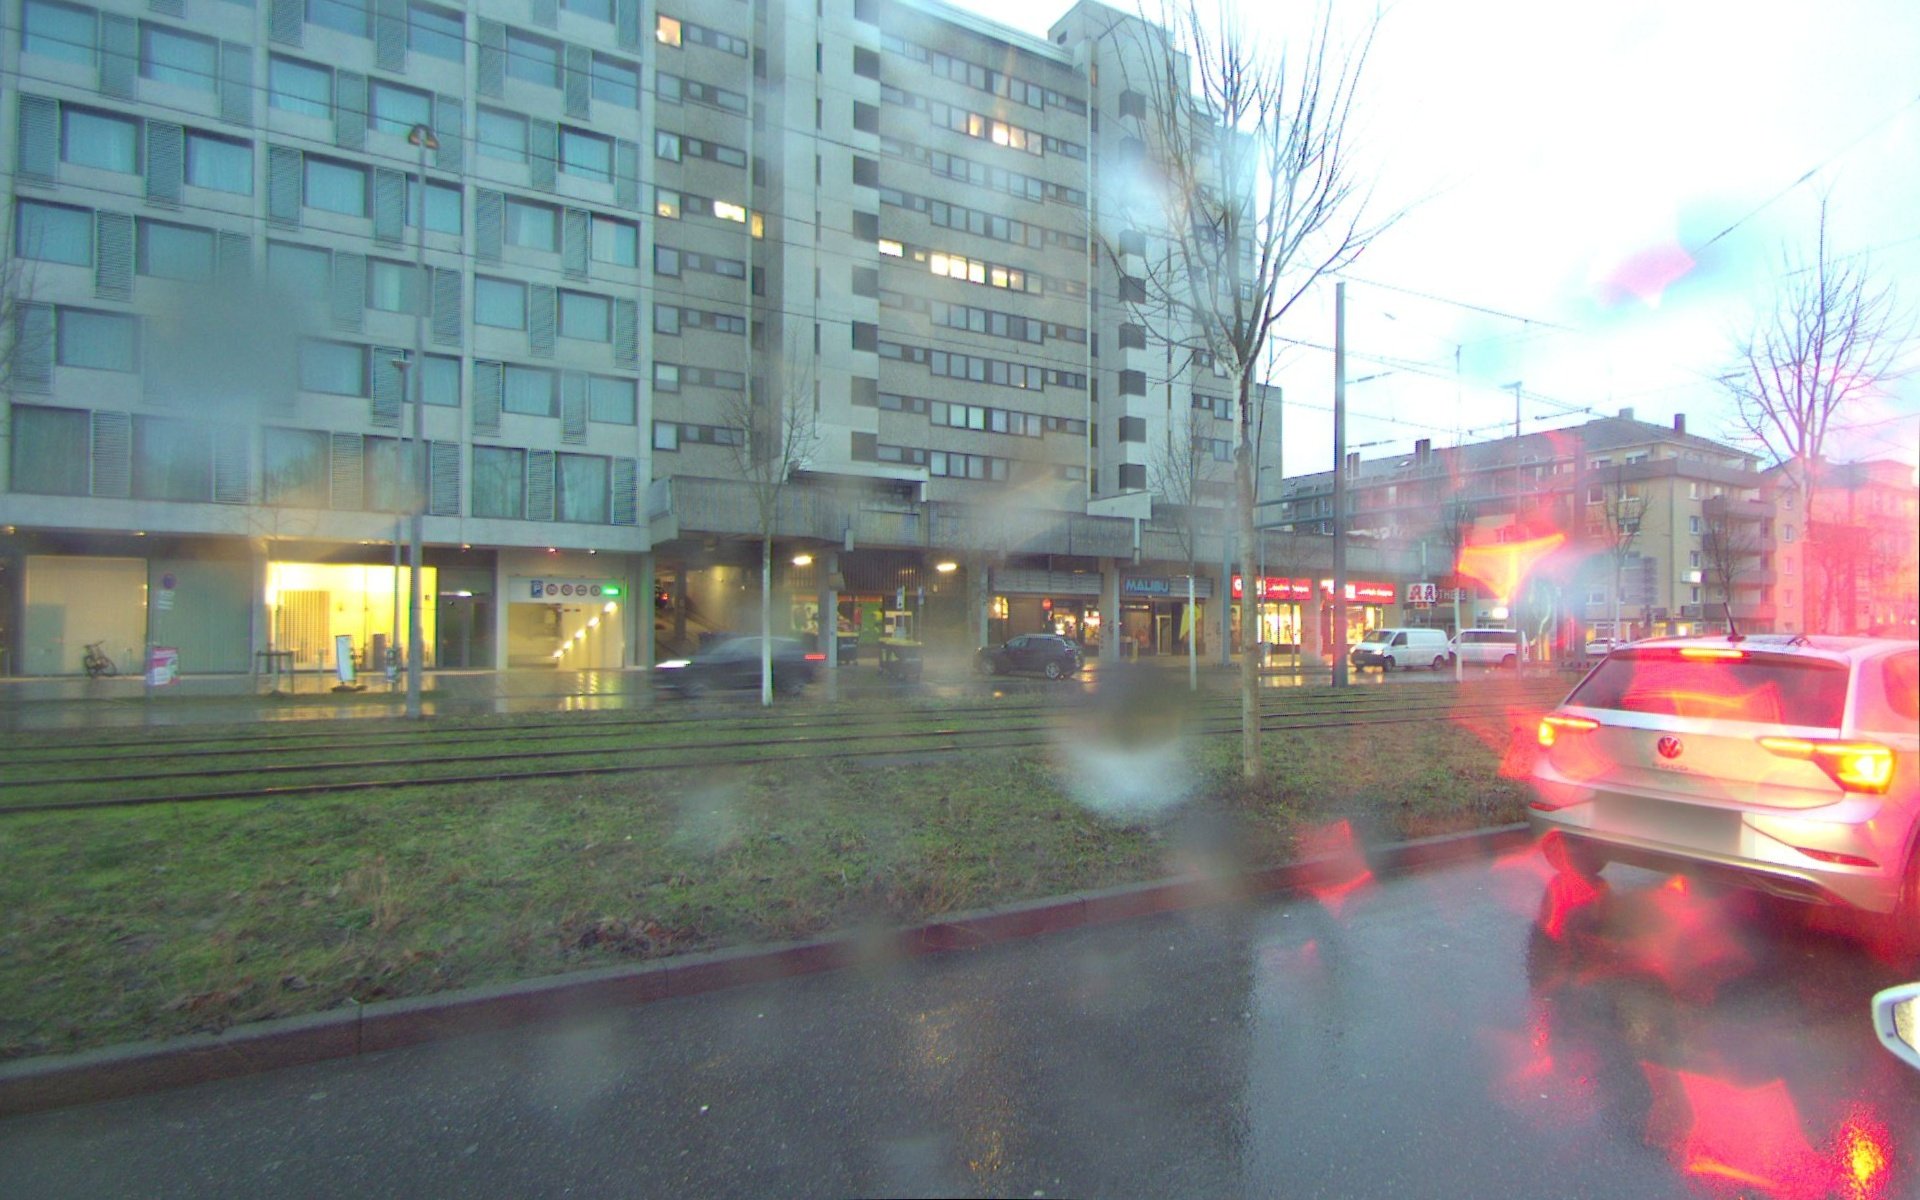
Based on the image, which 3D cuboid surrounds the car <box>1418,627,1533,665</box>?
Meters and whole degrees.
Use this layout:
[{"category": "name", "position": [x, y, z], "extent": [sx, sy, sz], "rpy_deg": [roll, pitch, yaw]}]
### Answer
[{"category": "car", "position": [27.070, 2.425, 52.893], "extent": [5.059, 1.937, 2.001], "rpy_deg": [0, -2, 15]}]

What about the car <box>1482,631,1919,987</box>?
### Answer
[{"category": "car", "position": [5.031, 0.919, 5.854], "extent": [3.936, 1.389, 1.753], "rpy_deg": [2, -1, -31]}]

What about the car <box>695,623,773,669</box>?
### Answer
[{"category": "car", "position": [-9.068, 1.796, 40.031], "extent": [1.709, 1.718, 4.336], "rpy_deg": [1, -2, -32]}]

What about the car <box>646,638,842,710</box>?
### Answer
[{"category": "car", "position": [-5.455, 1.806, 25.499], "extent": [4.527, 1.655, 1.887], "rpy_deg": [1, -2, -30]}]

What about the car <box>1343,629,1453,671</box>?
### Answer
[{"category": "car", "position": [20.827, 2.346, 47.751], "extent": [5.096, 1.937, 1.987], "rpy_deg": [1, -2, -27]}]

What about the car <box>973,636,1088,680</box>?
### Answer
[{"category": "car", "position": [2.717, 2.182, 38.478], "extent": [3.925, 1.405, 1.935], "rpy_deg": [2, 0, 25]}]

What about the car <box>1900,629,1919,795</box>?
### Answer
[{"category": "car", "position": [10.583, 1.019, 9.133], "extent": [4.562, 1.424, 1.837], "rpy_deg": [2, -1, -31]}]
